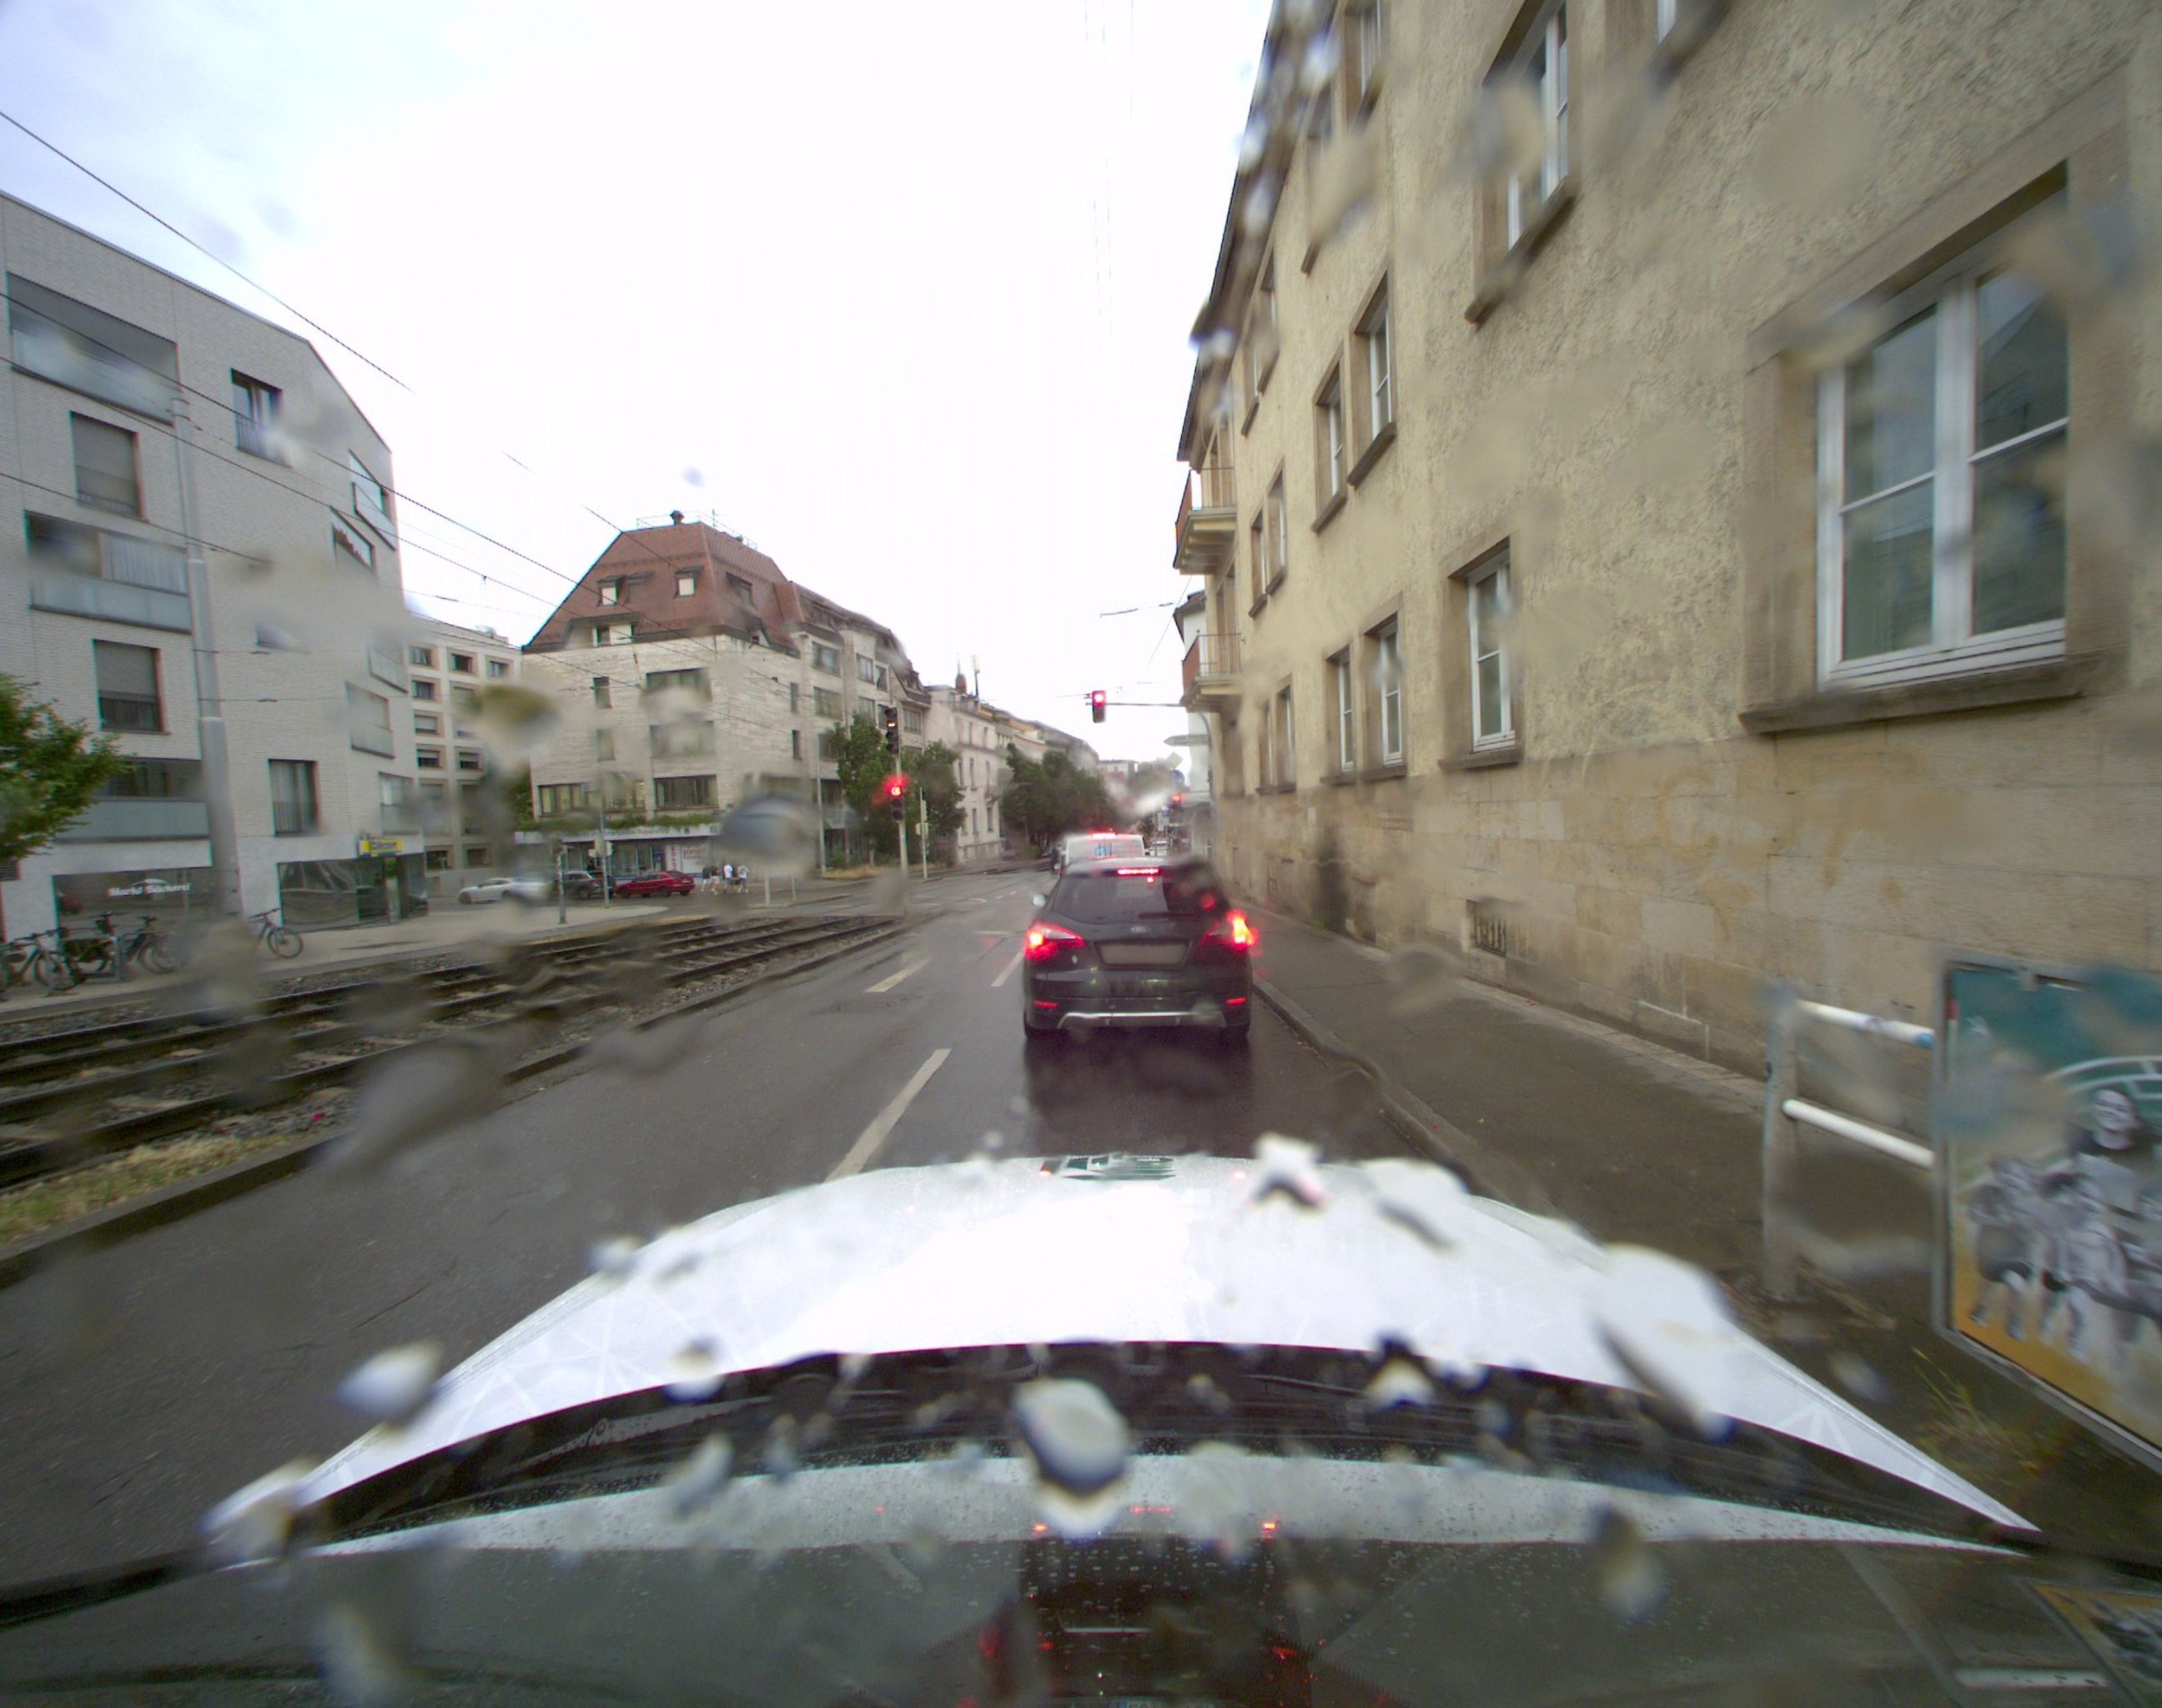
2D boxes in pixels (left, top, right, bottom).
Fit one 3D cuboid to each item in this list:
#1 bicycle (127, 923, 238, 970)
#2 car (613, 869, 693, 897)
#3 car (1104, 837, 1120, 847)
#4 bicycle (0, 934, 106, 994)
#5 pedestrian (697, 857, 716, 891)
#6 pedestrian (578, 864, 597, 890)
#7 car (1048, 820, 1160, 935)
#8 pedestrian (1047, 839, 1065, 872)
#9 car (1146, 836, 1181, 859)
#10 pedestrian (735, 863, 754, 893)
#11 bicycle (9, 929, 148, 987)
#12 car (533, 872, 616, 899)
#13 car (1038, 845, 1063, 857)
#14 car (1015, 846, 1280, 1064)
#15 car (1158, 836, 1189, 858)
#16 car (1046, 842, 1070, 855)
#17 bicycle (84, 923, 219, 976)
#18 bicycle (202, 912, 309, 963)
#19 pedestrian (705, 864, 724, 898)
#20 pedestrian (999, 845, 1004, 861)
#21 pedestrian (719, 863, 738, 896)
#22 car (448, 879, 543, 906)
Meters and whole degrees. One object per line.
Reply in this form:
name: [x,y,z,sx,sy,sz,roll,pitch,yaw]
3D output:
bicycle: [-18.232,1.868,16.537,1.778,0.876,0.387,-1,0,-1]
car: [-22.967,1.549,43.724,3.666,1.317,1.600,-2,-1,15]
car: [5.316,-2.000,140.082,1.843,1.637,4.952,-2,0,12]
bicycle: [-17.629,1.864,13.741,1.779,0.917,0.387,-2,0,-3]
pedestrian: [-20.453,1.077,44.468,0.643,1.842,0.686,0,0,10]
pedestrian: [-29.512,1.370,48.701,0.677,1.549,0.651,0,0,10]
car: [0.456,0.429,16.953,1.981,2.060,4.645,-1,0,1]
pedestrian: [-1.376,0.106,45.594,0.926,1.830,0.960,0,0,4]
car: [5.741,-0.455,56.404,1.789,1.455,4.602,-3,0,12]
pedestrian: [-17.612,1.244,42.665,0.643,1.549,0.686,0,0,10]
bicycle: [-17.940,1.855,14.593,1.782,0.917,0.386,-2,0,-7]
car: [-27.698,1.705,44.583,3.670,1.317,1.599,-2,-1,11]
car: [-3.498,-0.327,94.411,1.682,1.377,4.736,-2,-1,12]
car: [0.520,0.713,7.697,1.836,1.507,4.001,-1,0,2]
car: [7.170,-0.538,62.956,1.833,1.632,4.602,-2,0,12]
car: [-2.763,-0.709,100.372,1.843,1.548,4.737,-2,0,12]
bicycle: [-18.033,1.845,15.828,1.787,0.918,0.385,-1,0,-16]
bicycle: [-17.954,1.806,17.728,1.779,0.980,0.440,-3,0,-3]
pedestrian: [-19.395,1.411,43.148,0.643,1.749,0.686,0,0,10]
pedestrian: [-8.077,-0.084,82.498,0.466,1.652,0.582,0,0,0]
pedestrian: [-18.578,1.319,42.914,0.643,1.724,0.686,0,0,10]
car: [-32.614,2.132,45.412,4.458,1.317,1.599,-2,-1,11]
